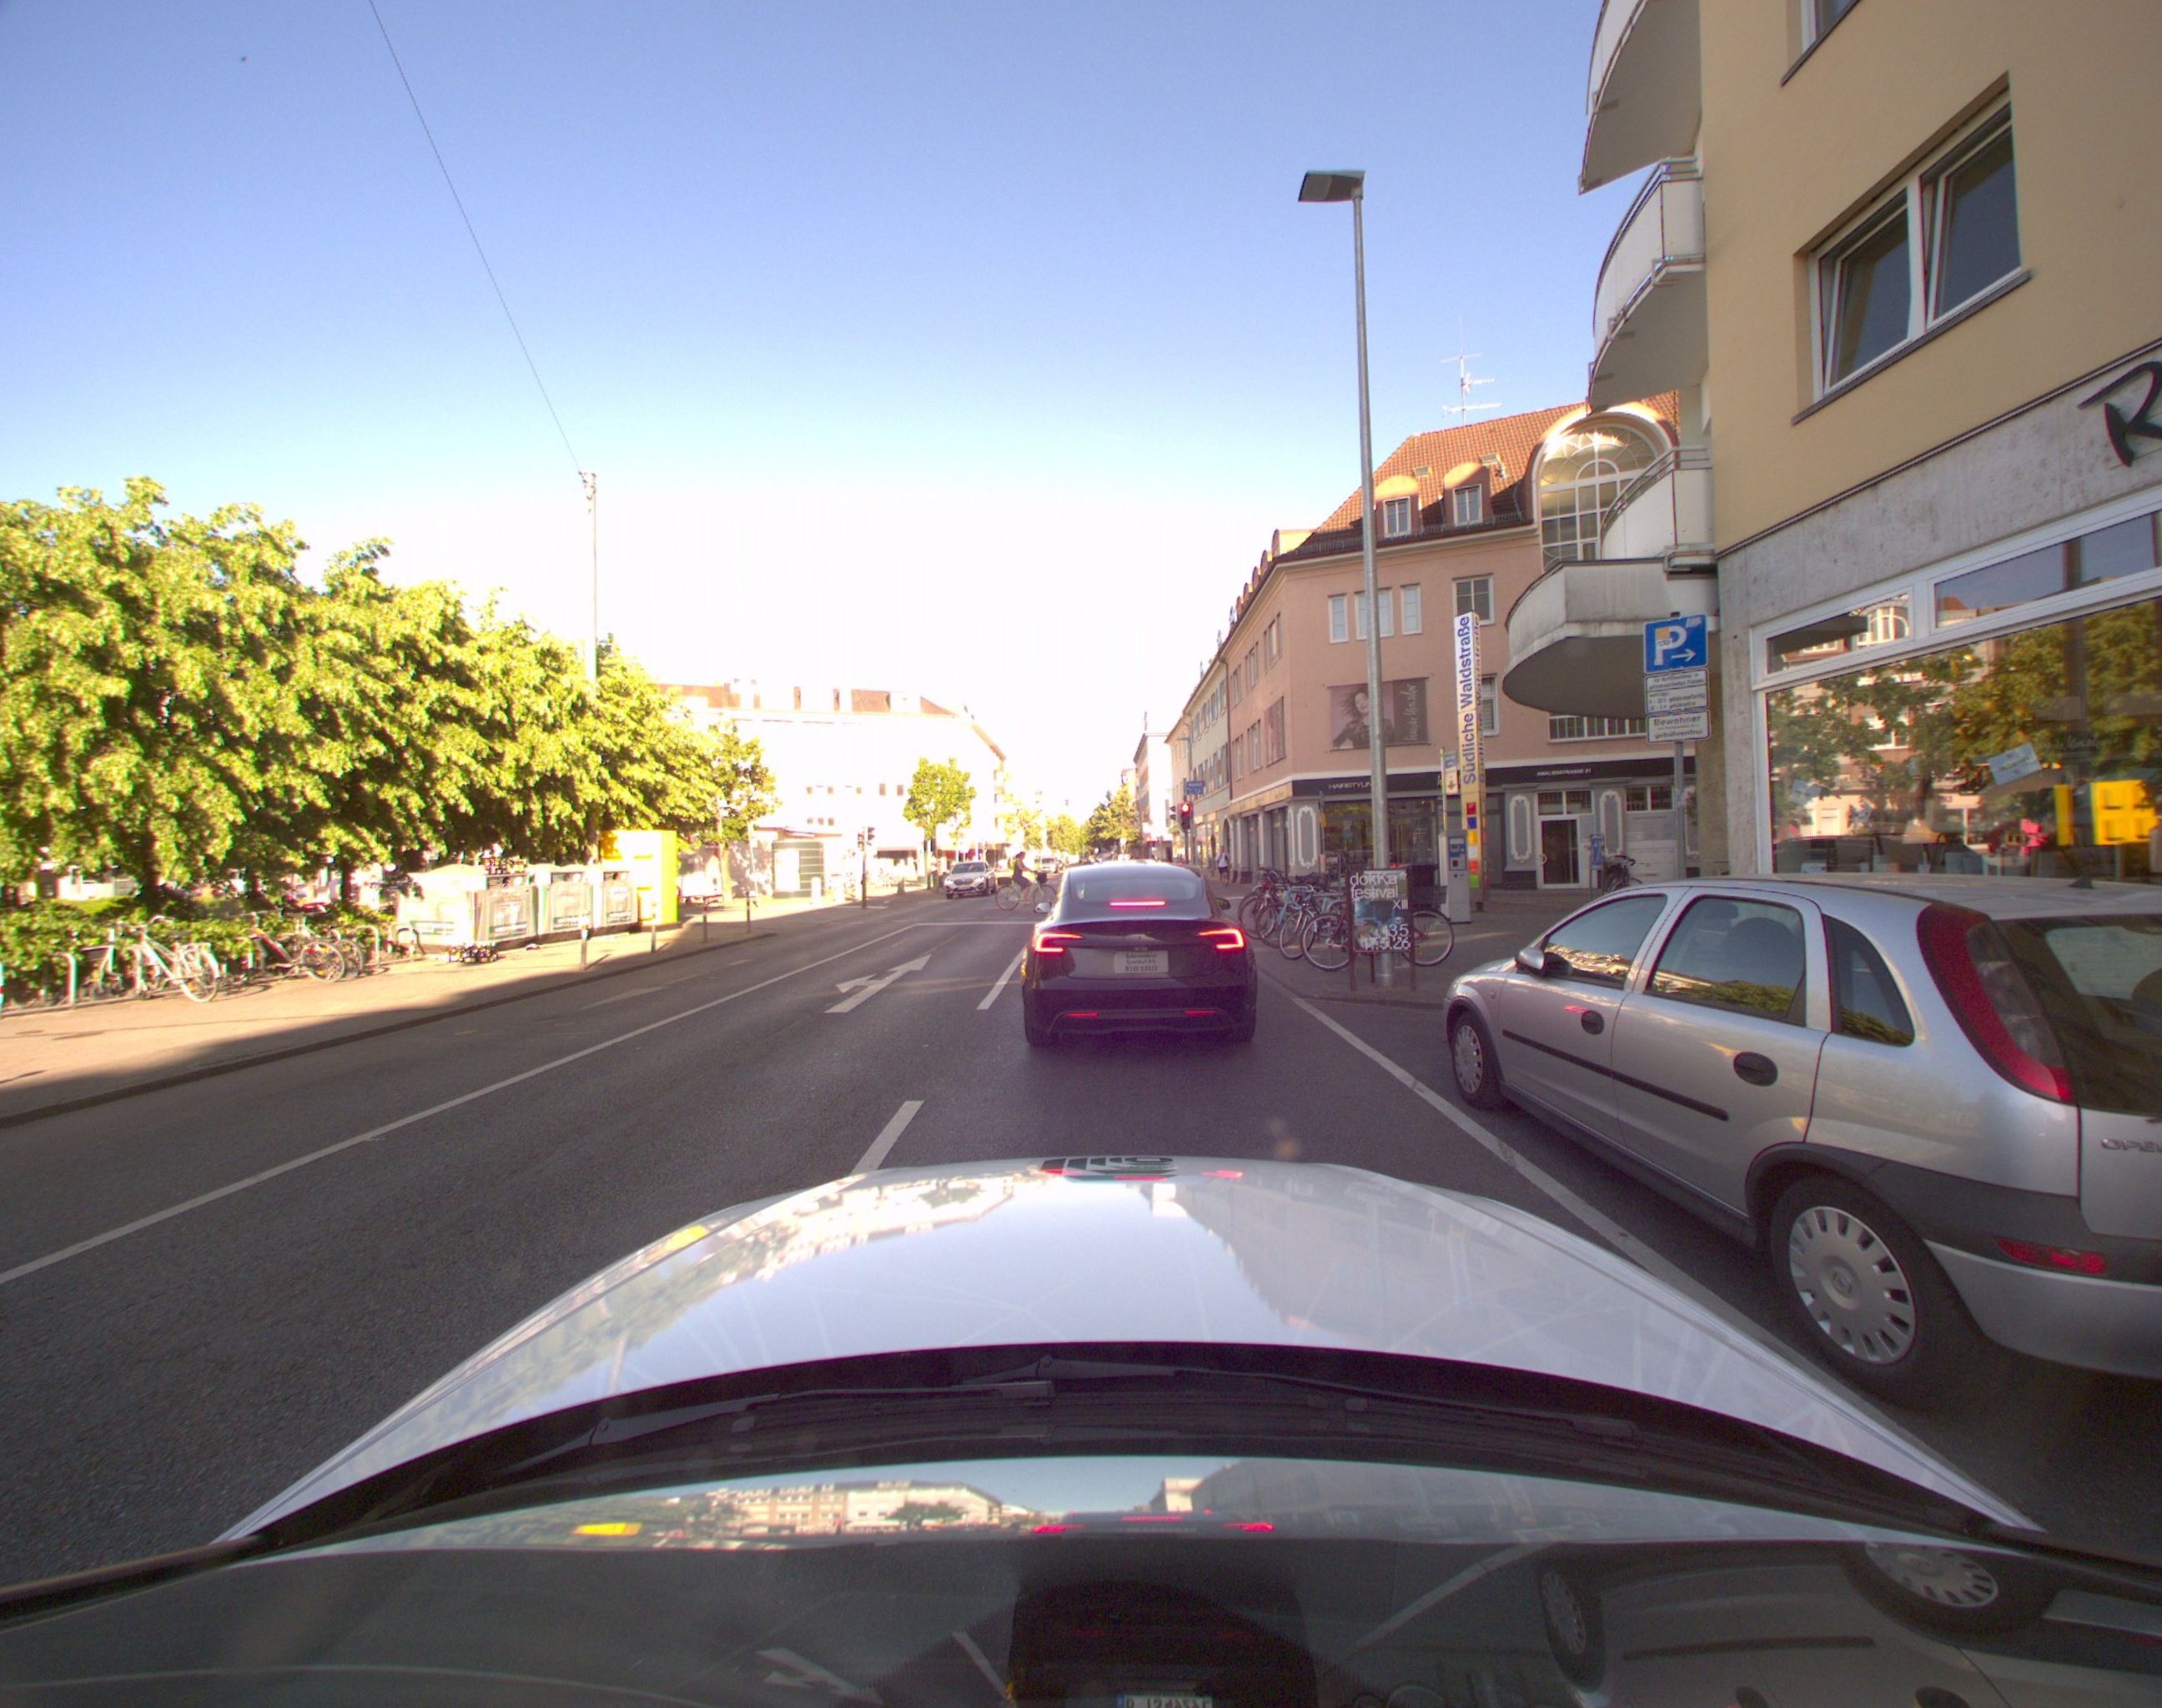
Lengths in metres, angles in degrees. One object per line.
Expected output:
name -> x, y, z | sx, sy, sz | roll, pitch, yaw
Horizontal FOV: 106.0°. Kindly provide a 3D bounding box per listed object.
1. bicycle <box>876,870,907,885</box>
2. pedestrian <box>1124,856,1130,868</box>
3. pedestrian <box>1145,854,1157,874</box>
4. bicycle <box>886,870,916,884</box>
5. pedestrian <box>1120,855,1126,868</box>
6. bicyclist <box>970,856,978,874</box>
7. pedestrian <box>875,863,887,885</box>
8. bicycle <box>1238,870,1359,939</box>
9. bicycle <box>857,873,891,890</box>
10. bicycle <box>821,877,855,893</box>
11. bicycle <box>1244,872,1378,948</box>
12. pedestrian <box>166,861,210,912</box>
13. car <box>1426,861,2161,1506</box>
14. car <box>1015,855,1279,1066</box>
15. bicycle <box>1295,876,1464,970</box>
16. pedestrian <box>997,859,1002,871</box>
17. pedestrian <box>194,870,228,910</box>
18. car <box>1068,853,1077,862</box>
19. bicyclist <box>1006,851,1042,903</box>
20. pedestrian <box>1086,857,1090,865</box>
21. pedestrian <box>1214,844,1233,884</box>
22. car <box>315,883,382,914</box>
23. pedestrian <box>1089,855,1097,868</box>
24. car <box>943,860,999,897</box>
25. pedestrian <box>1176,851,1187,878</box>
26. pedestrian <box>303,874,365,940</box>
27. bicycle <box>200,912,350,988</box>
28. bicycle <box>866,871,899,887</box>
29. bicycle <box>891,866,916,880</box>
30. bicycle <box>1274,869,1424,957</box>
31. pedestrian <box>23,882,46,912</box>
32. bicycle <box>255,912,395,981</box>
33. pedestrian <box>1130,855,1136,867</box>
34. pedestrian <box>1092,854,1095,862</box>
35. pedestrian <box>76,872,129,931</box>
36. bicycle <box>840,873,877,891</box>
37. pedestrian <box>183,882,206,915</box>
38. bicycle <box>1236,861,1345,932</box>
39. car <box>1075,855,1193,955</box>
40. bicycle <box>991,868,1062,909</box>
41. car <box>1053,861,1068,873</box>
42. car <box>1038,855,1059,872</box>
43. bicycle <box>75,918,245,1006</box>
bicycle -> -12.261, 1.535, 52.776 | 1.857, 0.934, 0.606 | -1, 0, 0
pedestrian -> 5.382, 0.974, 95.074 | 0.524, 1.422, 0.475 | 0, -1, -28
pedestrian -> 5.976, 0.834, 69.264 | 0.756, 1.631, 0.951 | 0, -1, -16
bicycle -> -12.182, 1.555, 55.224 | 1.857, 0.934, 0.606 | -1, 0, 0
pedestrian -> 4.917, 0.886, 95.869 | 0.474, 1.417, 0.517 | 0, -1, -29
bicyclist -> -8.758, 0.912, 66.511 | 0.525, 1.503, 0.473 | 0, -1, -22
pedestrian -> -18.826, 1.862, 76.666 | 1.060, 2.014, 1.049 | 0, -1, -18
bicycle -> 3.618, 0.838, 13.668 | 1.863, 1.038, 0.548 | -3, -1, 7
bicycle -> -12.131, 1.616, 47.758 | 1.857, 0.934, 0.606 | 0, -1, 0
bicycle -> -12.835, 1.634, 43.080 | 1.640, 0.792, 0.606 | 0, -1, -3
bicycle -> 3.497, 0.851, 12.507 | 1.864, 1.038, 0.534 | -3, -1, 5
pedestrian -> -36.289, 1.307, 33.099 | 0.890, 2.013, 0.893 | -1, 0, 15
car -> 2.945, 0.743, 3.525 | 1.540, 1.390, 3.479 | -1, -1, 3
car -> 0.522, 0.761, 7.695 | 1.815, 1.442, 4.001 | -1, -1, 2
bicycle -> 3.625, 0.836, 9.973 | 1.862, 1.038, 0.354 | -3, -1, 8
pedestrian -> -9.824, 1.285, 98.308 | 0.459, 1.460, 0.517 | -1, 0, -3
pedestrian -> -38.064, 1.575, 35.643 | 0.754, 1.698, 0.793 | -1, 0, 25
car -> -1.931, 0.852, 187.400 | 1.986, 2.013, 4.001 | 0, 0, 1
bicyclist -> -1.636, 0.654, 23.470 | 0.886, 1.482, 0.703 | 0, -1, 6
pedestrian -> 1.859, 1.740, 205.837 | 0.927, 2.014, 0.939 | 0, -1, 1
pedestrian -> 6.372, 0.448, 36.512 | 0.747, 1.765, 0.838 | -2, -1, 6
car -> -35.518, 2.122, 39.473 | 3.526, 1.386, 1.703 | -1, 0, 36
pedestrian -> 1.549, 1.026, 105.876 | 0.719, 1.695, 0.843 | -1, 0, -26
car -> -4.853, 1.045, 36.406 | 1.782, 1.460, 3.759 | -4, -1, 2
pedestrian -> 6.687, 0.687, 54.181 | 0.704, 1.742, 0.540 | -1, 0, 1
pedestrian -> -23.318, 1.633, 25.449 | 1.051, 2.014, 0.971 | 0, -1, -10
bicycle -> -11.516, 1.347, 11.641 | 1.913, 1.003, 0.518 | -1, -1, 11
bicycle -> -12.256, 1.548, 50.237 | 1.857, 0.934, 0.606 | 0, -1, 0
bicycle -> -17.107, 1.819, 78.476 | 2.373, 1.296, 0.509 | 0, -1, -25
bicycle -> 3.655, 0.805, 11.195 | 1.864, 1.087, 0.415 | -3, -1, 5
pedestrian -> -77.938, 3.187, 60.648 | 0.891, 2.171, 0.882 | -1, -1, 26
bicycle -> -11.317, 1.374, 12.201 | 1.888, 0.955, 0.518 | -1, -1, 11
pedestrian -> 6.136, 0.825, 95.798 | 0.524, 1.422, 0.475 | 0, -1, -28
pedestrian -> 3.172, 1.001, 206.406 | 0.927, 2.014, 0.939 | 0, -1, 1
pedestrian -> -34.754, 1.676, 28.944 | 0.890, 2.013, 0.893 | -1, 0, 15
bicycle -> -12.460, 1.569, 45.654 | 1.857, 0.934, 0.606 | -1, 0, 0
pedestrian -> -48.858, 2.445, 44.892 | 0.842, 1.717, 0.761 | -2, -1, 35
bicycle -> 3.781, 0.759, 14.788 | 1.818, 1.169, 0.507 | -3, -1, 7
car -> 0.799, 0.749, 13.907 | 1.712, 1.425, 3.757 | -1, 0, 0
bicycle -> -1.561, 0.993, 23.454 | 1.924, 1.118, 0.710 | -1, -1, 6
car -> -2.504, 1.561, 100.955 | 1.709, 1.446, 3.846 | 0, -1, 2
car -> -3.244, 0.916, 81.866 | 1.780, 1.646, 4.404 | -1, 0, 2
bicycle -> -11.619, 1.342, 10.277 | 1.919, 1.015, 0.518 | -1, -1, 12
